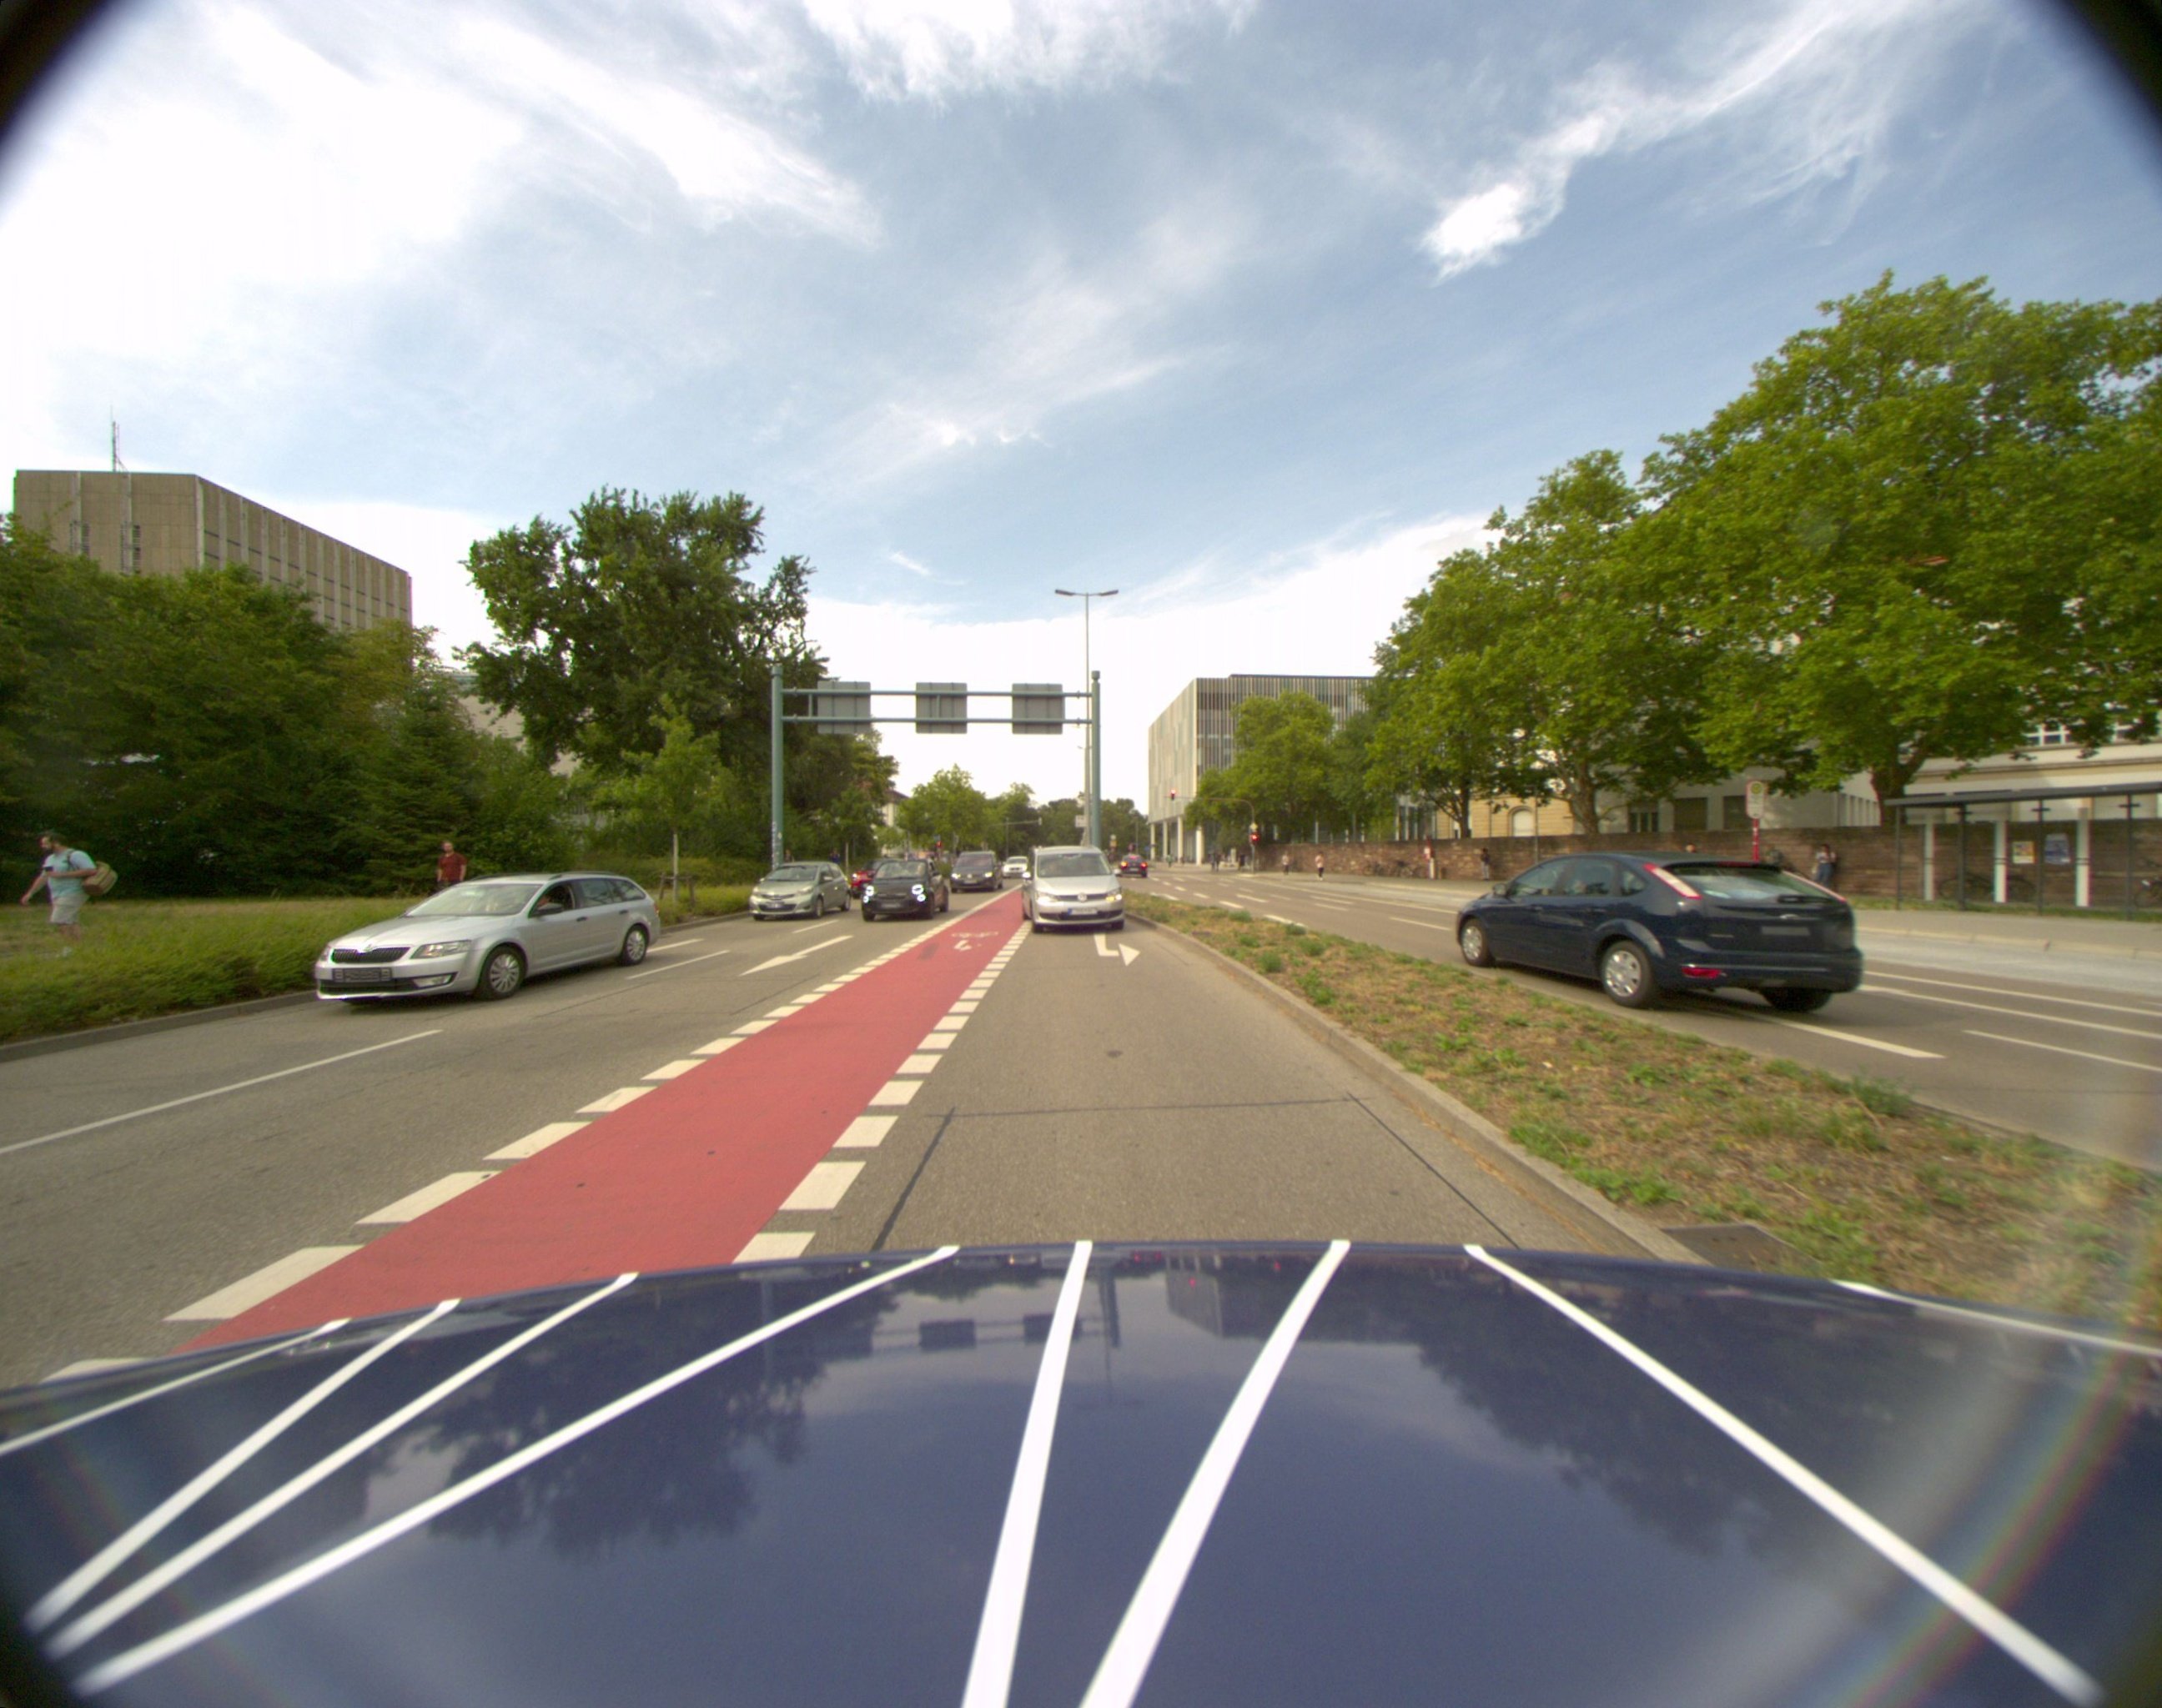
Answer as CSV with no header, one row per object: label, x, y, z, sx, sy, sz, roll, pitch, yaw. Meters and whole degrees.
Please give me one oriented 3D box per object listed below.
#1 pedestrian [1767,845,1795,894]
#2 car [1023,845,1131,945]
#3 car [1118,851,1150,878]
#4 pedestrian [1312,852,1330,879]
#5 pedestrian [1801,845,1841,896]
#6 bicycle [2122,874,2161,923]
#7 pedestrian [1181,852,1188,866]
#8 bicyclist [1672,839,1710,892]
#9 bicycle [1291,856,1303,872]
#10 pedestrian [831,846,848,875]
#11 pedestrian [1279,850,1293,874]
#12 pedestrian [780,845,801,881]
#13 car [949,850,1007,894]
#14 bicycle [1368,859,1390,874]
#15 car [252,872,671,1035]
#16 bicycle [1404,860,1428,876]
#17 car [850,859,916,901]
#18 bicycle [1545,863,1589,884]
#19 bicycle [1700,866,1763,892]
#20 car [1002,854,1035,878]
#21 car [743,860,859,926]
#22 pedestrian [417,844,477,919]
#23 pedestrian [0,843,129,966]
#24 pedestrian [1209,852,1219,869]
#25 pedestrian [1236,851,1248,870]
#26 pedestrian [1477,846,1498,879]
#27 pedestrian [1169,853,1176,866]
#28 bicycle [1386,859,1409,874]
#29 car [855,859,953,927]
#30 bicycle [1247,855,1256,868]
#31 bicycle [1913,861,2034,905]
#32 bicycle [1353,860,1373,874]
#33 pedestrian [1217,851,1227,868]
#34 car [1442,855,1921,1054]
pedestrian,23.655,0.504,25.670,0.569,1.612,0.484,-3,1,-22
car,-0.244,0.719,16.040,1.825,1.724,4.525,-2,1,-5
car,3.414,0.650,49.606,1.759,1.615,3.867,-2,1,0
pedestrian,14.557,0.675,46.100,0.754,1.612,0.665,-2,1,-6
pedestrian,24.225,0.536,24.872,0.569,1.612,0.753,-3,1,-22
bicycle,26.684,1.090,18.094,0.759,1.182,2.095,2,-1,-21
pedestrian,12.764,0.626,93.642,0.754,1.612,0.665,-2,1,-6
bicyclist,18.585,0.338,23.159,0.579,1.547,0.798,0,3,12
bicycle,16.869,0.756,59.363,0.513,1.202,1.395,-2,1,0
pedestrian,-14.567,0.400,45.781,0.714,1.701,0.695,-2,1,0
pedestrian,14.120,0.571,52.353,0.754,1.612,0.665,-2,1,-6
pedestrian,-14.386,0.438,37.653,0.714,1.701,0.695,-2,1,0
car,-4.328,0.710,32.629,1.759,1.641,4.685,-2,1,0
bicycle,18.636,0.758,47.520,0.433,0.882,1.574,-4,1,-11
car,-7.662,1.092,10.166,1.824,1.466,4.527,-2,1,0
bicycle,19.255,0.818,43.700,0.433,0.882,1.574,-4,1,-11
car,-7.532,0.964,29.244,1.670,1.407,3.456,-2,1,-2
bicycle,21.569,0.843,33.751,0.662,0.882,1.574,-4,1,-19
bicycle,23.443,0.878,27.397,0.662,0.882,1.574,-4,1,-19
car,-4.124,0.755,50.805,1.759,1.450,4.223,-2,1,0
car,-7.507,0.989,20.769,1.670,1.481,3.875,-2,1,0
pedestrian,-14.885,0.621,17.854,0.714,1.701,0.695,-2,1,0
pedestrian,-14.765,0.701,11.042,0.842,1.701,0.694,-2,1,-3
pedestrian,12.637,0.586,72.255,0.754,1.612,0.665,-2,1,-6
pedestrian,14.101,0.574,66.520,0.754,1.612,0.665,-2,1,-6
pedestrian,20.390,0.424,38.090,0.756,1.612,0.664,-3,2,-41
pedestrian,11.802,0.673,97.868,0.754,1.612,0.665,-2,1,-6
bicycle,19.085,0.761,45.844,0.433,0.882,1.574,-4,1,-11
car,-4.431,0.930,19.501,1.670,1.481,3.440,-1,1,0
bicycle,15.839,0.710,70.578,0.513,1.202,1.395,-2,1,0
bicycle,25.425,0.795,21.702,0.759,1.182,2.095,2,-1,-21
bicycle,18.330,0.840,49.355,0.433,0.882,1.574,-4,1,-11
pedestrian,13.434,0.551,72.592,0.754,1.612,0.665,-2,1,-6
car,5.750,0.804,8.100,1.789,1.481,4.129,2,1,0
